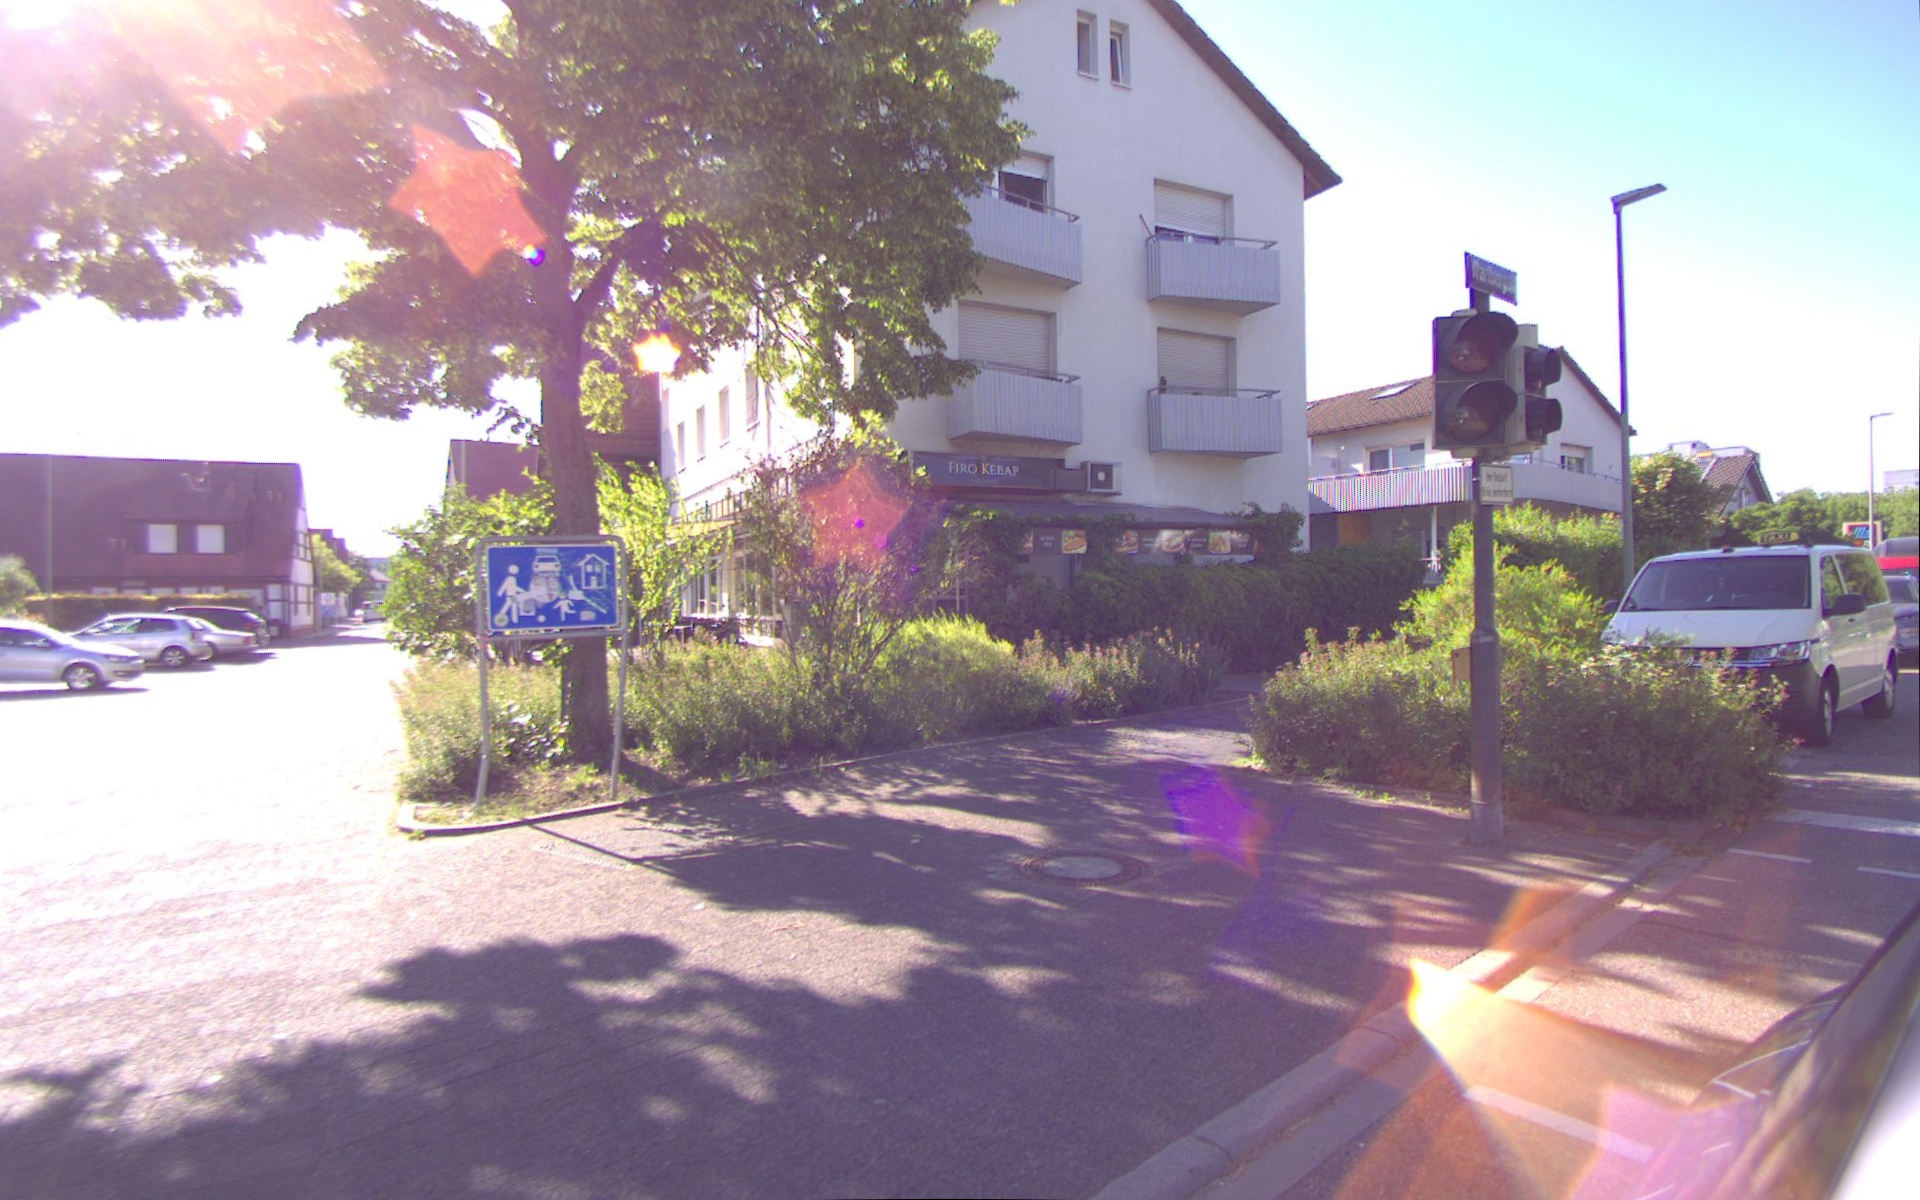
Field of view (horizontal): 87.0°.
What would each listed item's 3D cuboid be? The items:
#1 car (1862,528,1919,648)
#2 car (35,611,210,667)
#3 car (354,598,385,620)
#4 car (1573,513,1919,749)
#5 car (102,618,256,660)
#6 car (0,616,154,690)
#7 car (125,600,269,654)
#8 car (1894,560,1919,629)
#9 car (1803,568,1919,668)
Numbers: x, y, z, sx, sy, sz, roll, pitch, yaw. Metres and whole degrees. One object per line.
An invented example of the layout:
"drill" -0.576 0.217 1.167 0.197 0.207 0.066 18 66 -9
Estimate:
"car" 23.214 -0.308 24.297 5.138 2.678 1.958 -1 -1 -45
"car" -23.361 1.055 28.391 3.546 1.471 1.461 1 -1 -30
"car" -52.063 0.800 89.359 2.168 1.866 4.807 -1 0 -28
"car" 8.835 0.224 11.207 4.495 2.105 1.998 -2 0 -38
"car" -23.696 1.147 30.843 3.547 1.210 1.346 1 -1 -31
"car" -19.414 1.086 21.363 3.546 1.438 1.462 1 1 -30
"car" -24.962 0.858 33.259 3.631 1.646 1.415 1 1 -31
"car" 28.314 -0.205 28.995 4.483 1.872 1.858 -1 -2 -43
"car" 18.114 0.288 19.749 4.499 1.760 1.959 -1 -1 -43
